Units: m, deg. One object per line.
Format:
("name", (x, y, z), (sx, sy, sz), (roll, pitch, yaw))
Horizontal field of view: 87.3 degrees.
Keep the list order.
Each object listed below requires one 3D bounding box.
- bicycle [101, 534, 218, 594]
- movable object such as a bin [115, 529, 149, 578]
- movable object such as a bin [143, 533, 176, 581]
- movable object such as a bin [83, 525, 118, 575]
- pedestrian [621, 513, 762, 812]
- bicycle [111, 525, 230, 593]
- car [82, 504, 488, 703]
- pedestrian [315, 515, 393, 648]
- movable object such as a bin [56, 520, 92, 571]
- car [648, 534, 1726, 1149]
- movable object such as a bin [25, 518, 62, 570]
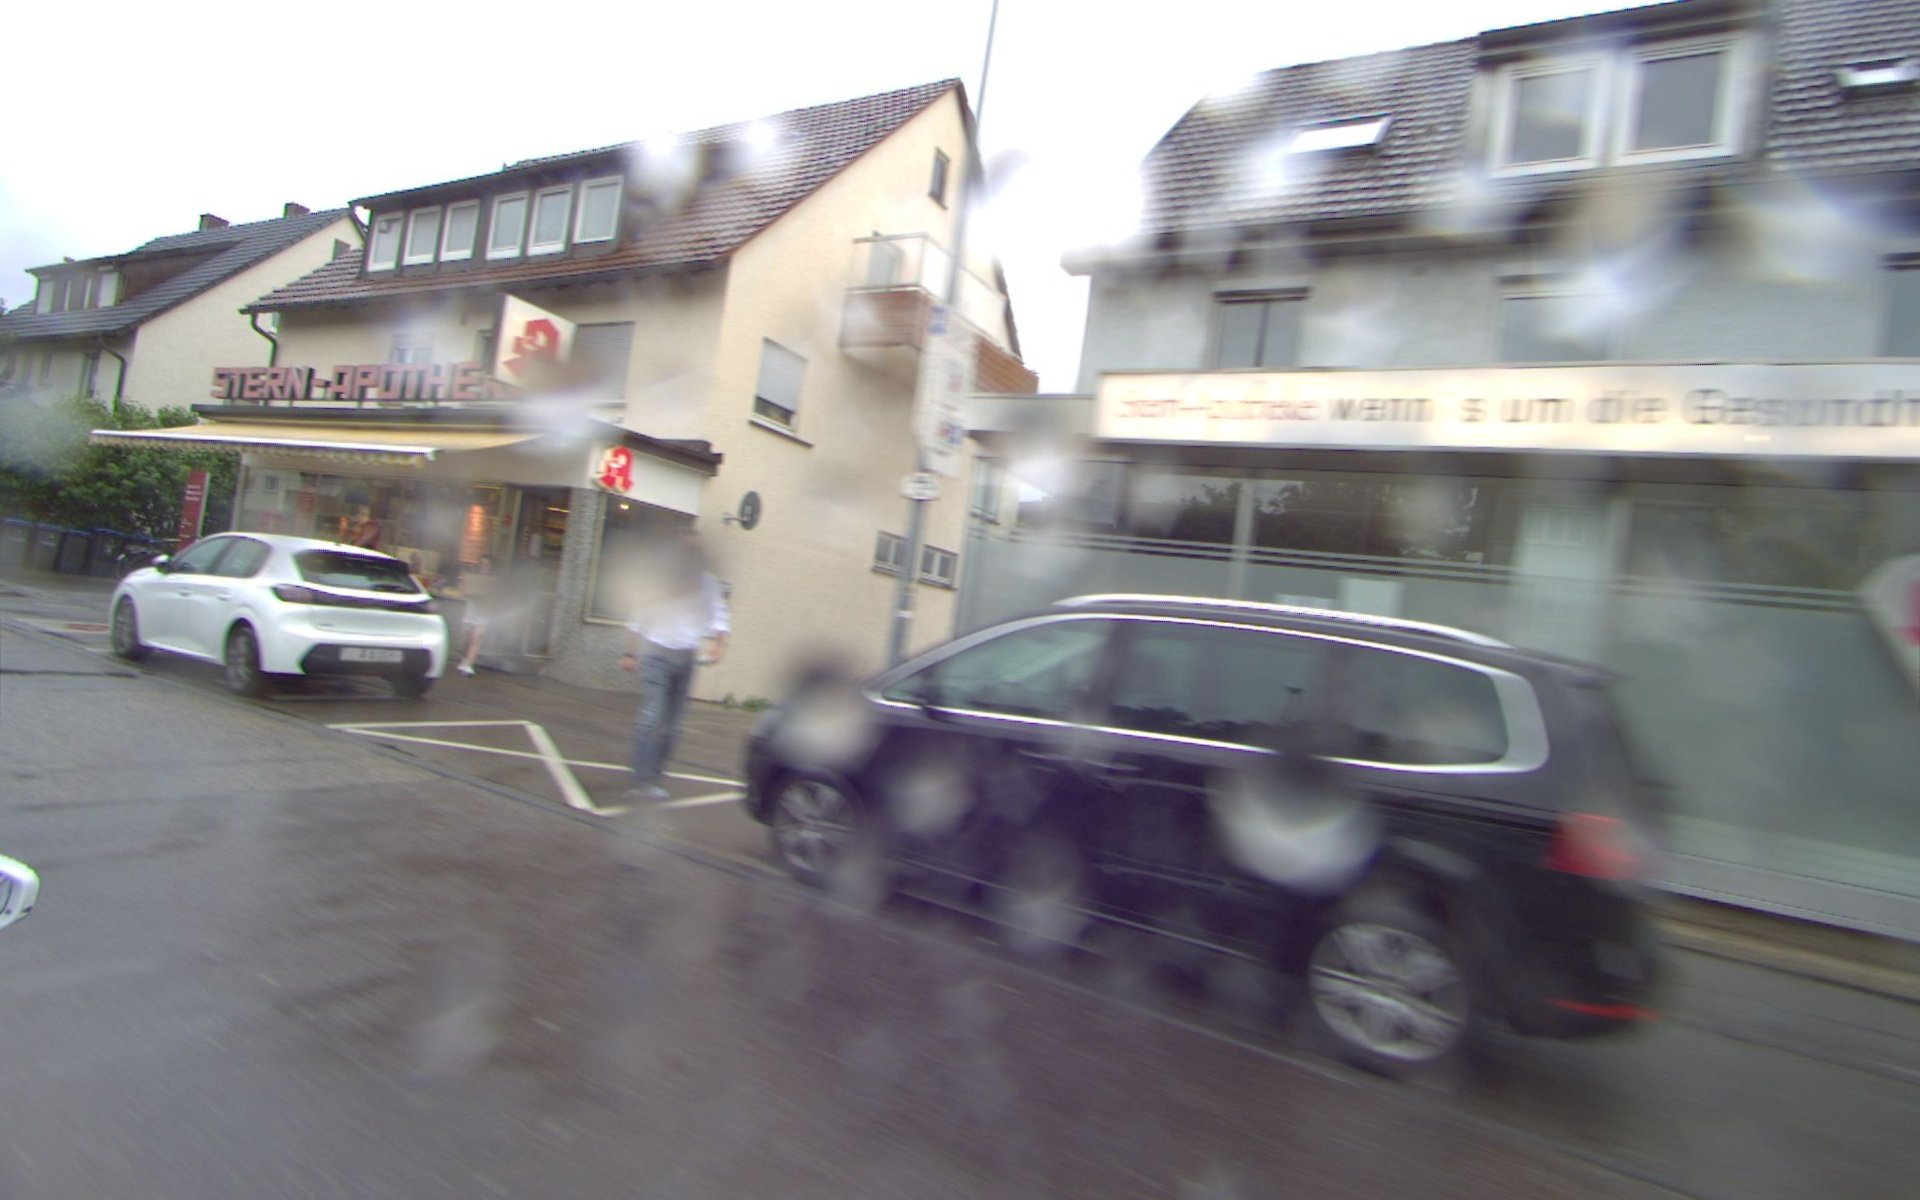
("bicycle", (-14.794, -0.657, 18.628), (1.637, 0.945, 0.616), (4, 2, -40))
("movable object such as a bin", (-18.119, -1.007, 22.020), (0.349, 0.998, 0.367), (8, 0, 29))
("movable object such as a bin", (-17.863, -0.967, 22.444), (0.349, 0.998, 0.367), (8, 0, 29))
("movable object such as a bin", (-18.382, -1.063, 21.508), (0.349, 0.998, 0.367), (8, 0, 29))
("pedestrian", (-1.865, 0.425, 6.948), (0.616, 1.913, 0.644), (8, -1, -23))
("bicycle", (-14.284, -0.738, 18.231), (1.637, 1.061, 0.616), (4, 2, -40))
("car", (-6.959, -0.001, 10.277), (4.134, 1.466, 1.818), (7, 0, 32))
("pedestrian", (-8.152, -0.232, 13.550), (0.508, 1.698, 0.551), (8, -1, -5))
("movable object such as a bin", (-18.603, -1.150, 21.129), (0.349, 0.998, 0.367), (8, 0, 29))
("car", (0.837, 0.746, 5.366), (4.883, 1.716, 2.037), (6, -1, 34))
("movable object such as a bin", (-18.827, -1.155, 20.667), (0.349, 0.998, 0.367), (8, 0, 29))
